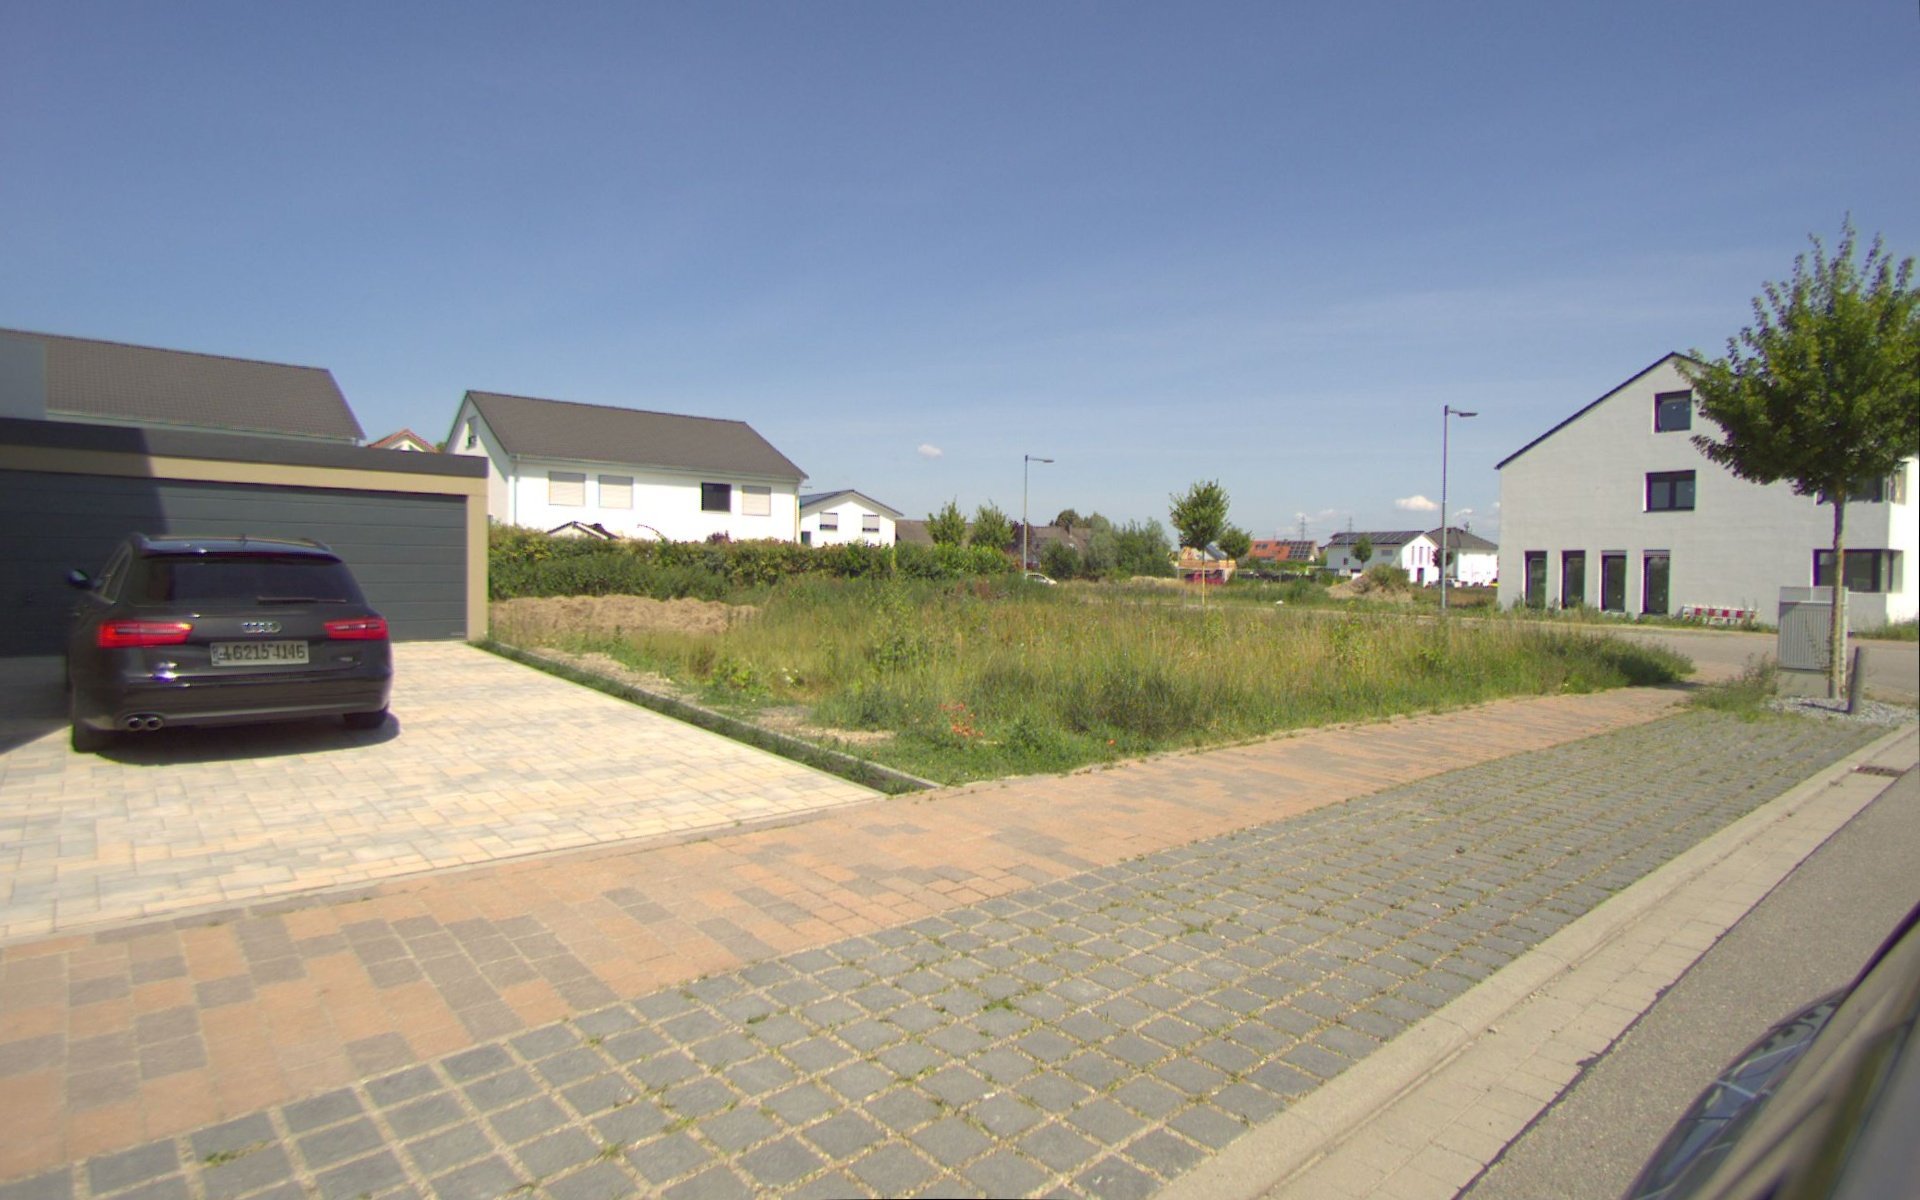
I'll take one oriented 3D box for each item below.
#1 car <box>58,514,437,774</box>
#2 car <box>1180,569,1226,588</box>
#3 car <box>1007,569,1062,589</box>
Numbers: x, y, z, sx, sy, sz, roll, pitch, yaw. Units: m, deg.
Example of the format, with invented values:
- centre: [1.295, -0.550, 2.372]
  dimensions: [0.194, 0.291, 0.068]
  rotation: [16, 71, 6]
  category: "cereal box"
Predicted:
- centre: [-6.013, 0.101, 8.261]
  dimensions: [1.965, 1.443, 4.898]
  rotation: [0, 4, -41]
  category: "car"
- centre: [21.248, -1.877, 88.558]
  dimensions: [3.924, 1.636, 1.810]
  rotation: [0, 2, -36]
  category: "car"
- centre: [5.736, -1.598, 77.855]
  dimensions: [3.921, 1.521, 1.811]
  rotation: [0, 2, -32]
  category: "car"
